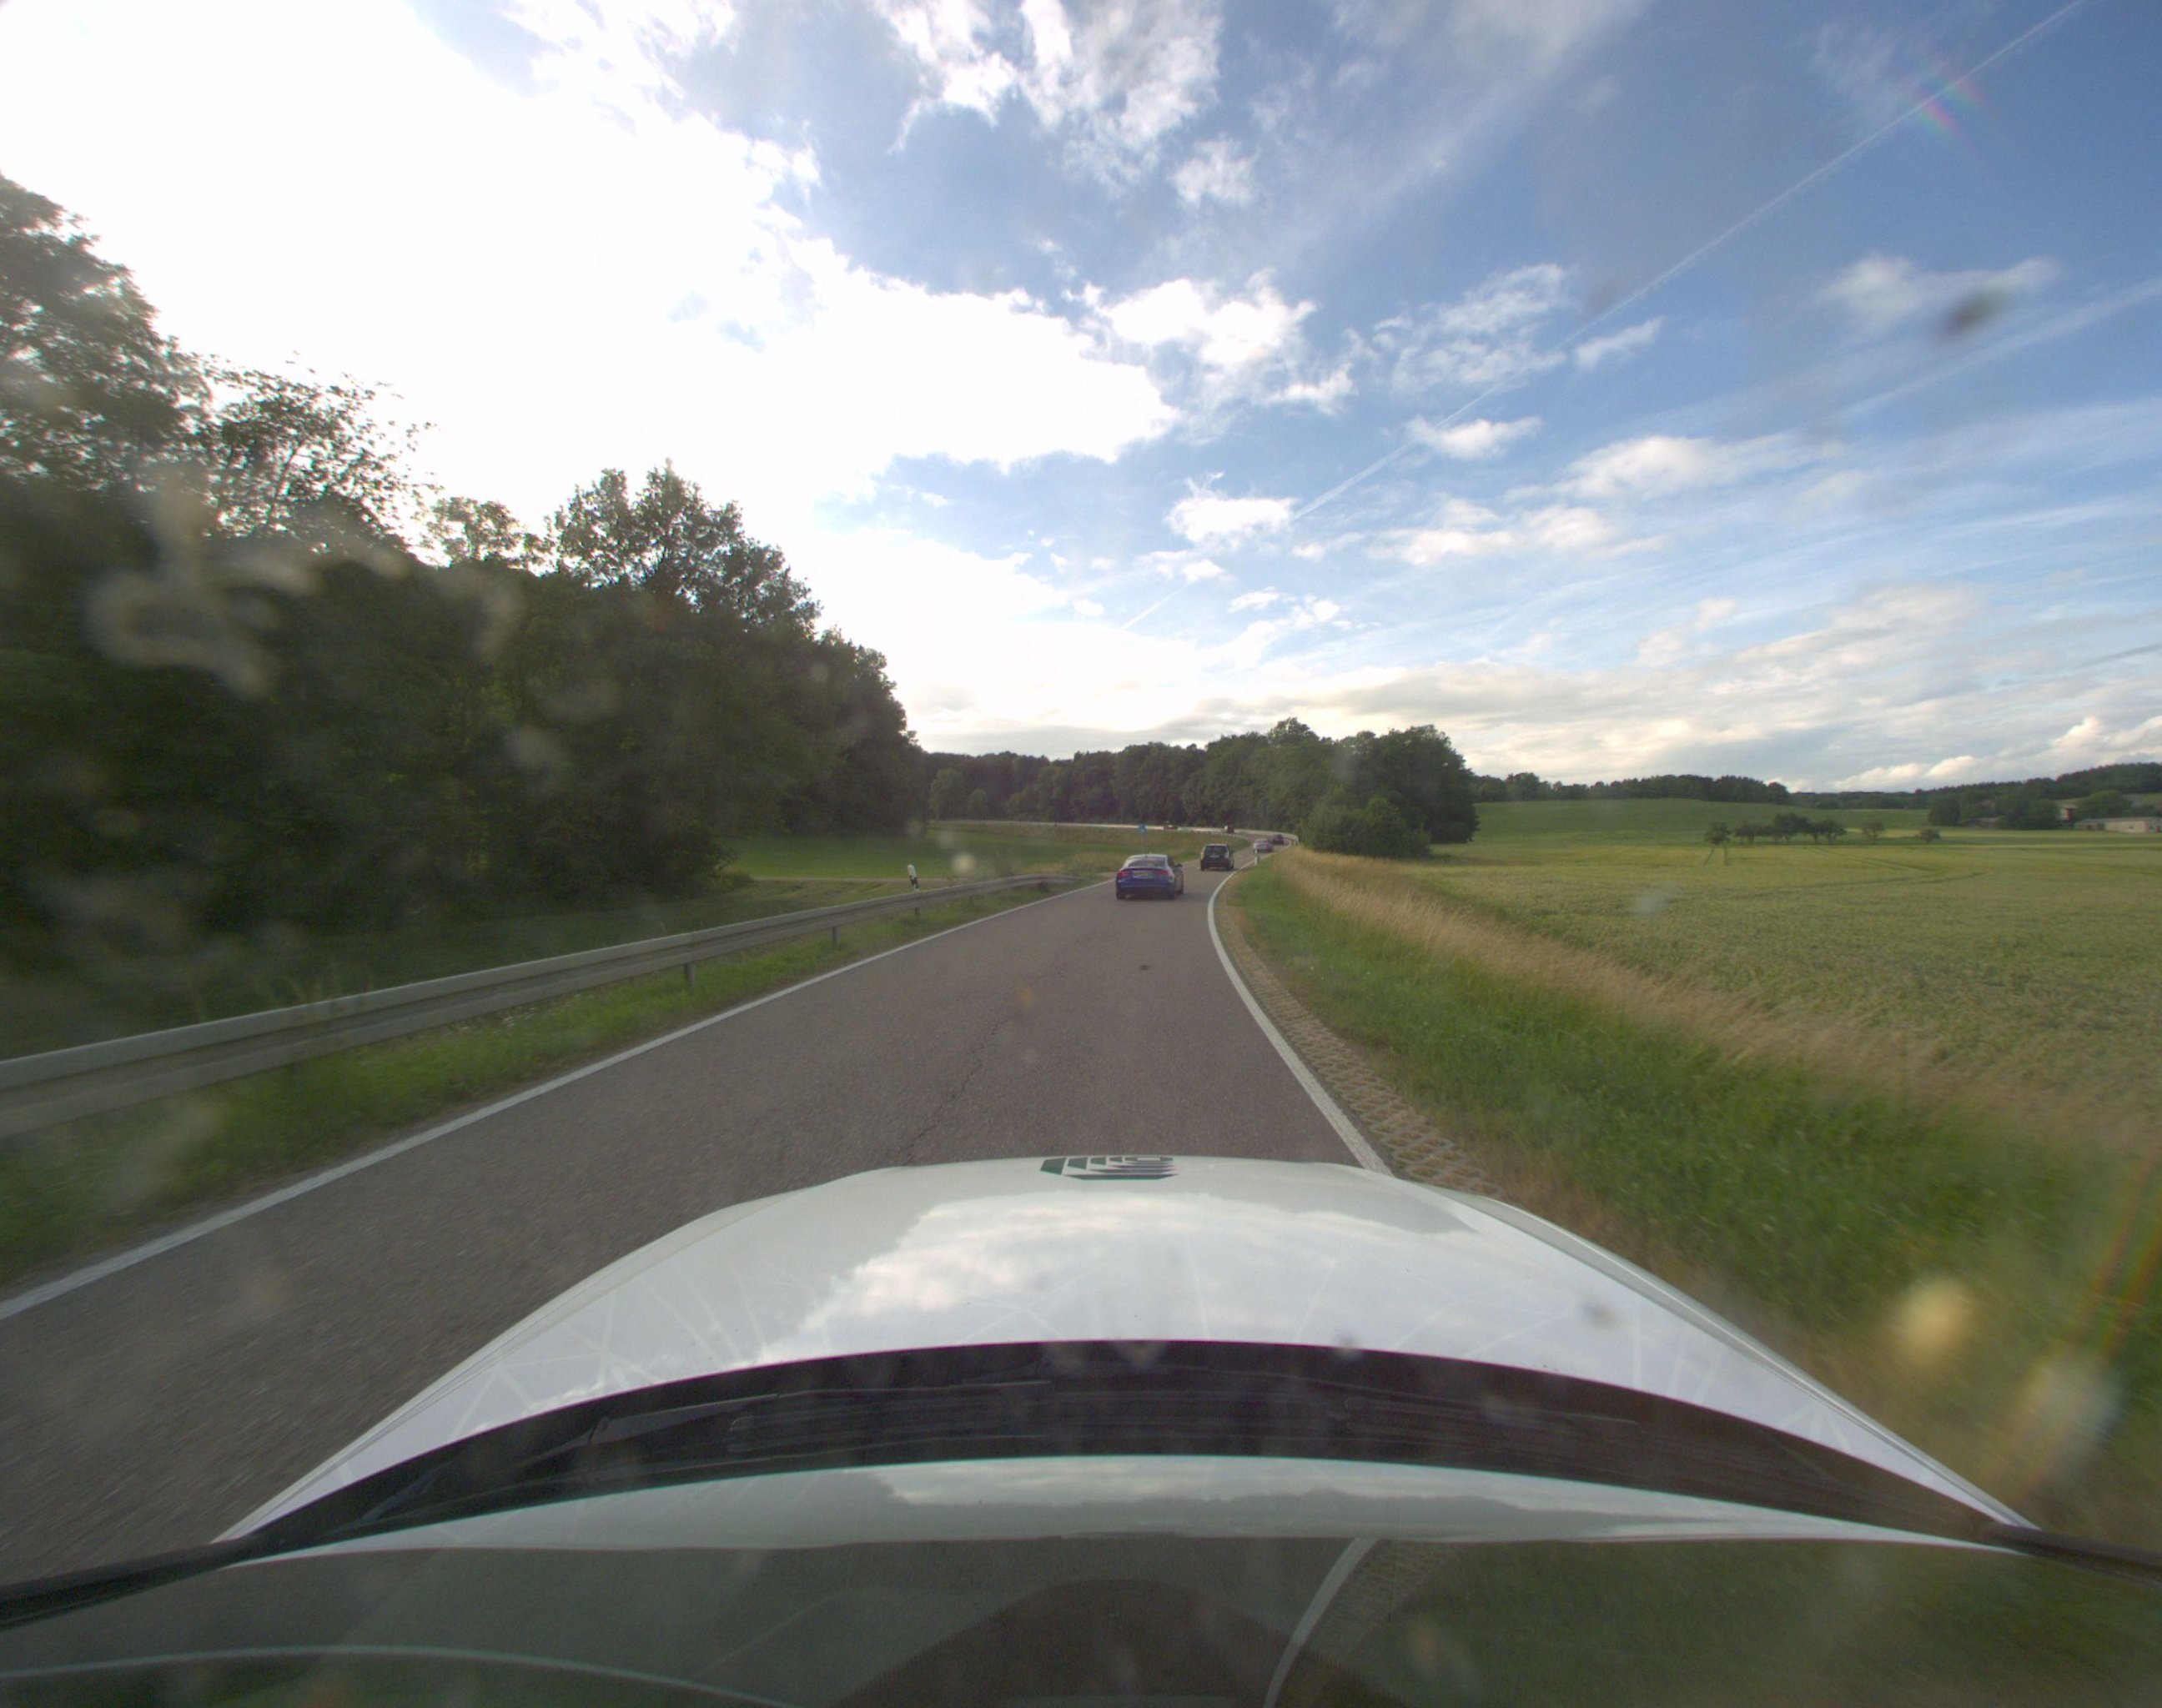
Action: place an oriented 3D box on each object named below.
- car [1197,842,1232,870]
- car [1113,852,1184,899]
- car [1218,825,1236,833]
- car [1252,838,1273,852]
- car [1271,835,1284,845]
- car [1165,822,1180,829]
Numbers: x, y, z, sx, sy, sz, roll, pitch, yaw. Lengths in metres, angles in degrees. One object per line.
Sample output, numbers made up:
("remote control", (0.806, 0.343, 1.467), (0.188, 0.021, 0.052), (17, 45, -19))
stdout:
("car", (8.166, 0.134, 49.513), (1.849, 1.569, 4.013), (-3, -1, 12))
("car", (2.255, 0.630, 26.209), (1.807, 1.339, 4.363), (0, 1, 11))
("car", (32.029, -5.461, 178.447), (2.001, 1.678, 4.148), (-2, 2, -22))
("car", (19.072, -0.930, 85.384), (1.668, 1.376, 4.019), (-3, -1, 19))
("car", (27.034, -1.934, 111.901), (1.460, 1.227, 3.314), (-3, 1, 16))
("car", (23.606, -7.299, 209.480), (2.004, 1.771, 3.966), (-2, 2, -26))
